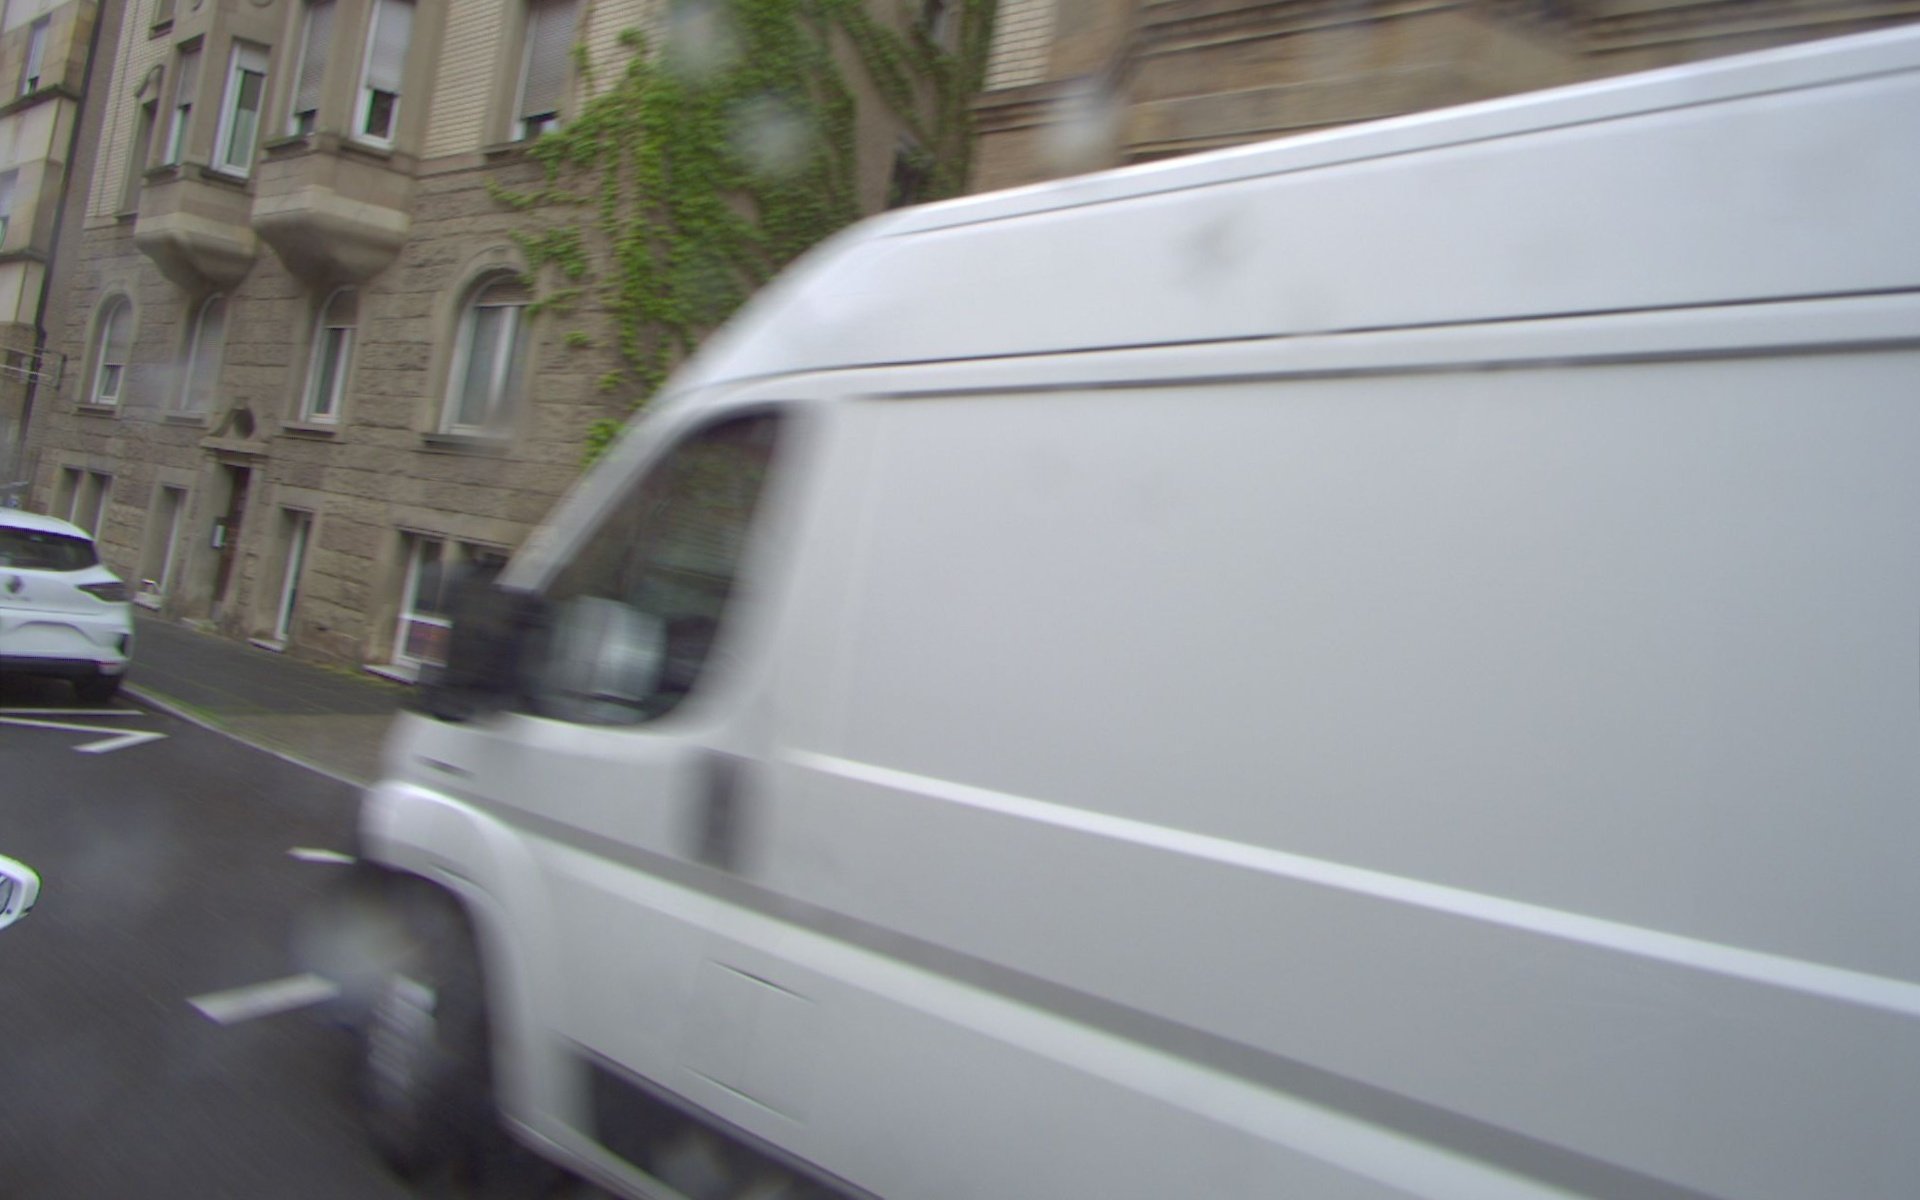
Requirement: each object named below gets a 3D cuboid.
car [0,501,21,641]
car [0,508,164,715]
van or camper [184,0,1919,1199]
[{"bbox_3d":[-12.187,-0.589,10.796,3.933,1.457,1.998,7,-2,31],"label":"car"},{"bbox_3d":[-8.523,-0.101,8.314,3.933,1.427,1.680,7,-2,32],"label":"car"},{"bbox_3d":[0.928,0.525,2.244,6.018,2.497,2.068,7,-2,33],"label":"van or camper"}]
